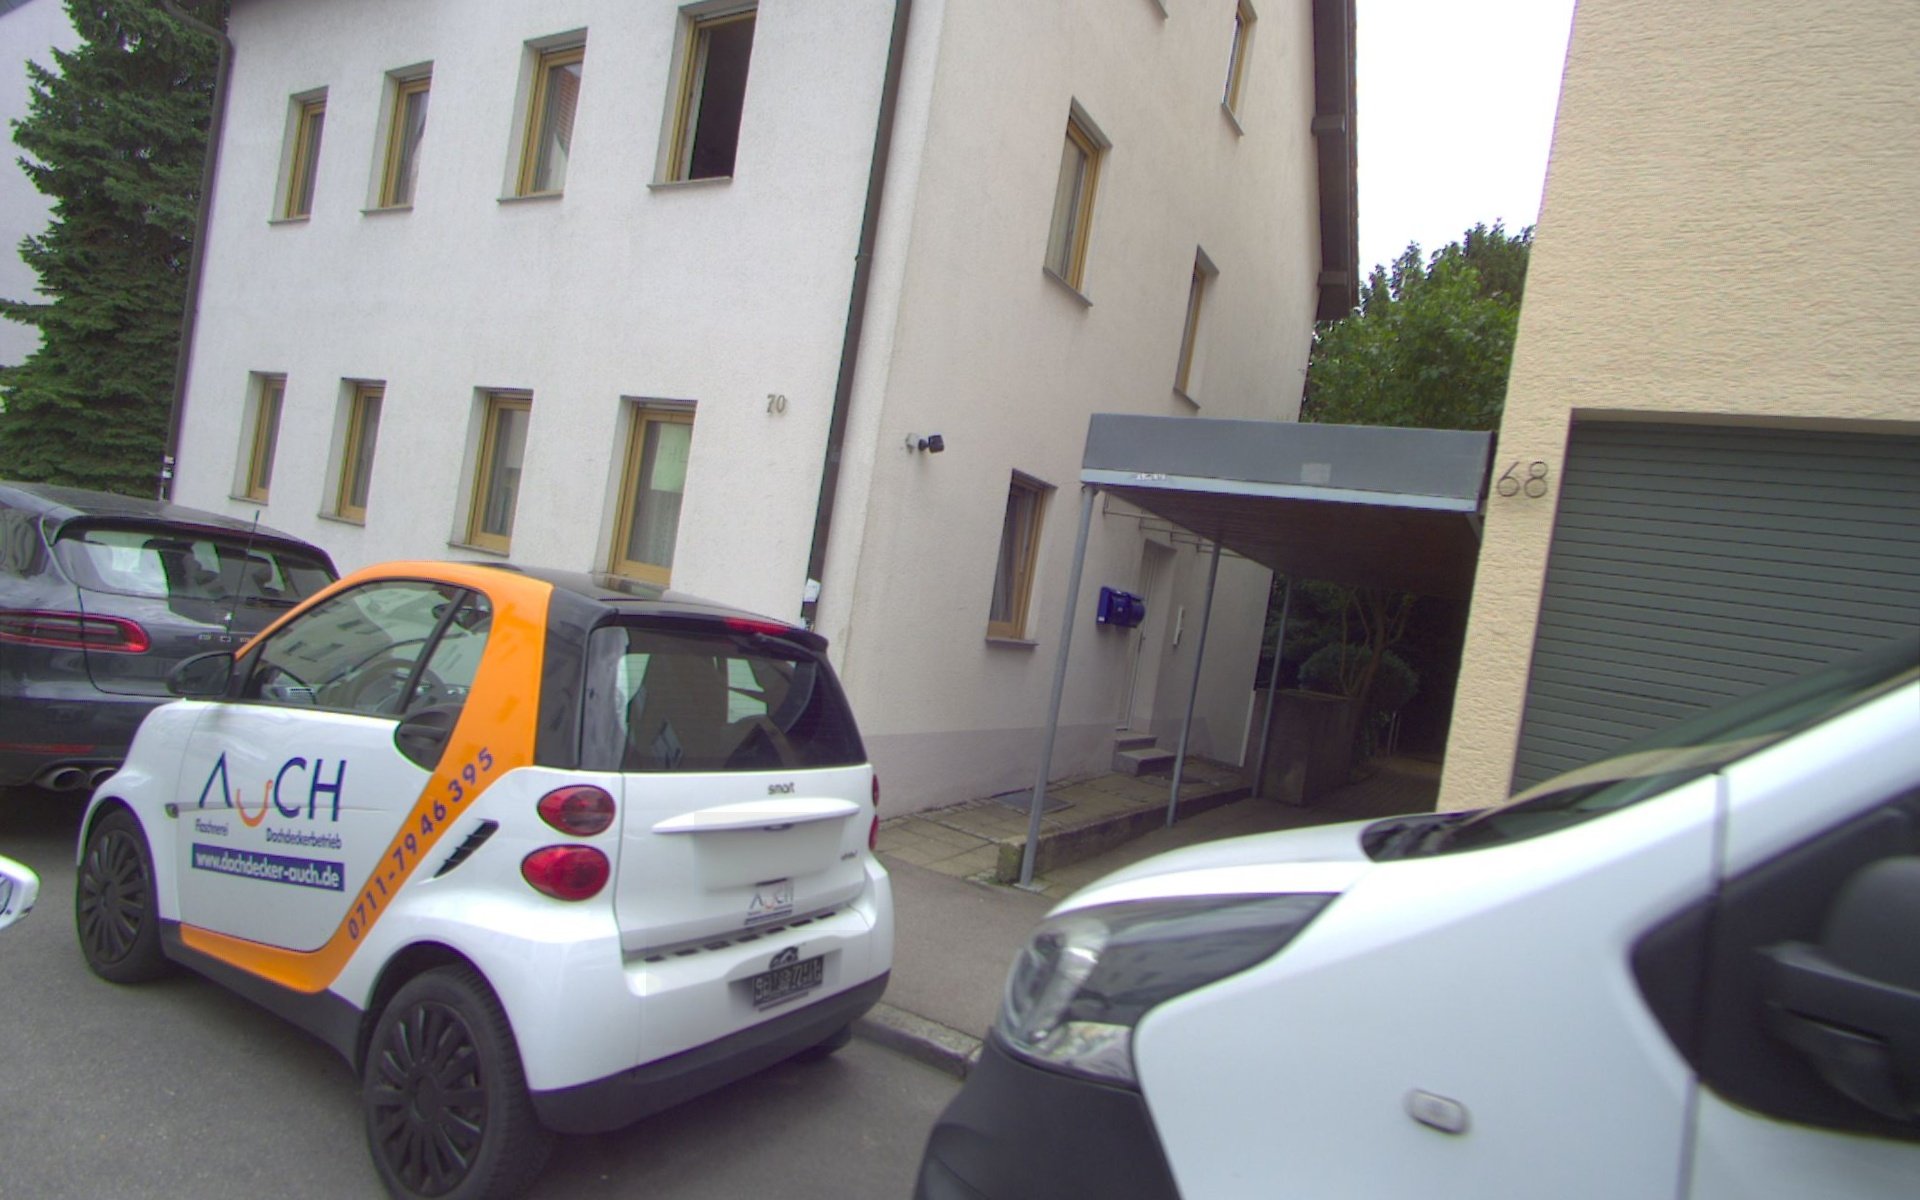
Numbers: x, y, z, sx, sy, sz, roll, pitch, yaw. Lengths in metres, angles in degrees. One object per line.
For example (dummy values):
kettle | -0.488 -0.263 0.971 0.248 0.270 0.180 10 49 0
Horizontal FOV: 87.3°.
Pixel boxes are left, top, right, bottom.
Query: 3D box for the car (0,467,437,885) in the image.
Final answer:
car | -5.192 0.145 5.679 4.422 1.614 1.717 7 -2 30

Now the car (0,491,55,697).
car | -9.449 -0.329 8.337 4.005 1.583 1.719 7 -2 32

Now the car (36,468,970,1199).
car | -1.611 0.564 3.458 2.745 1.614 1.490 7 -2 32

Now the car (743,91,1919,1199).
car | 2.603 0.824 0.906 5.637 2.053 1.910 7 -2 31
